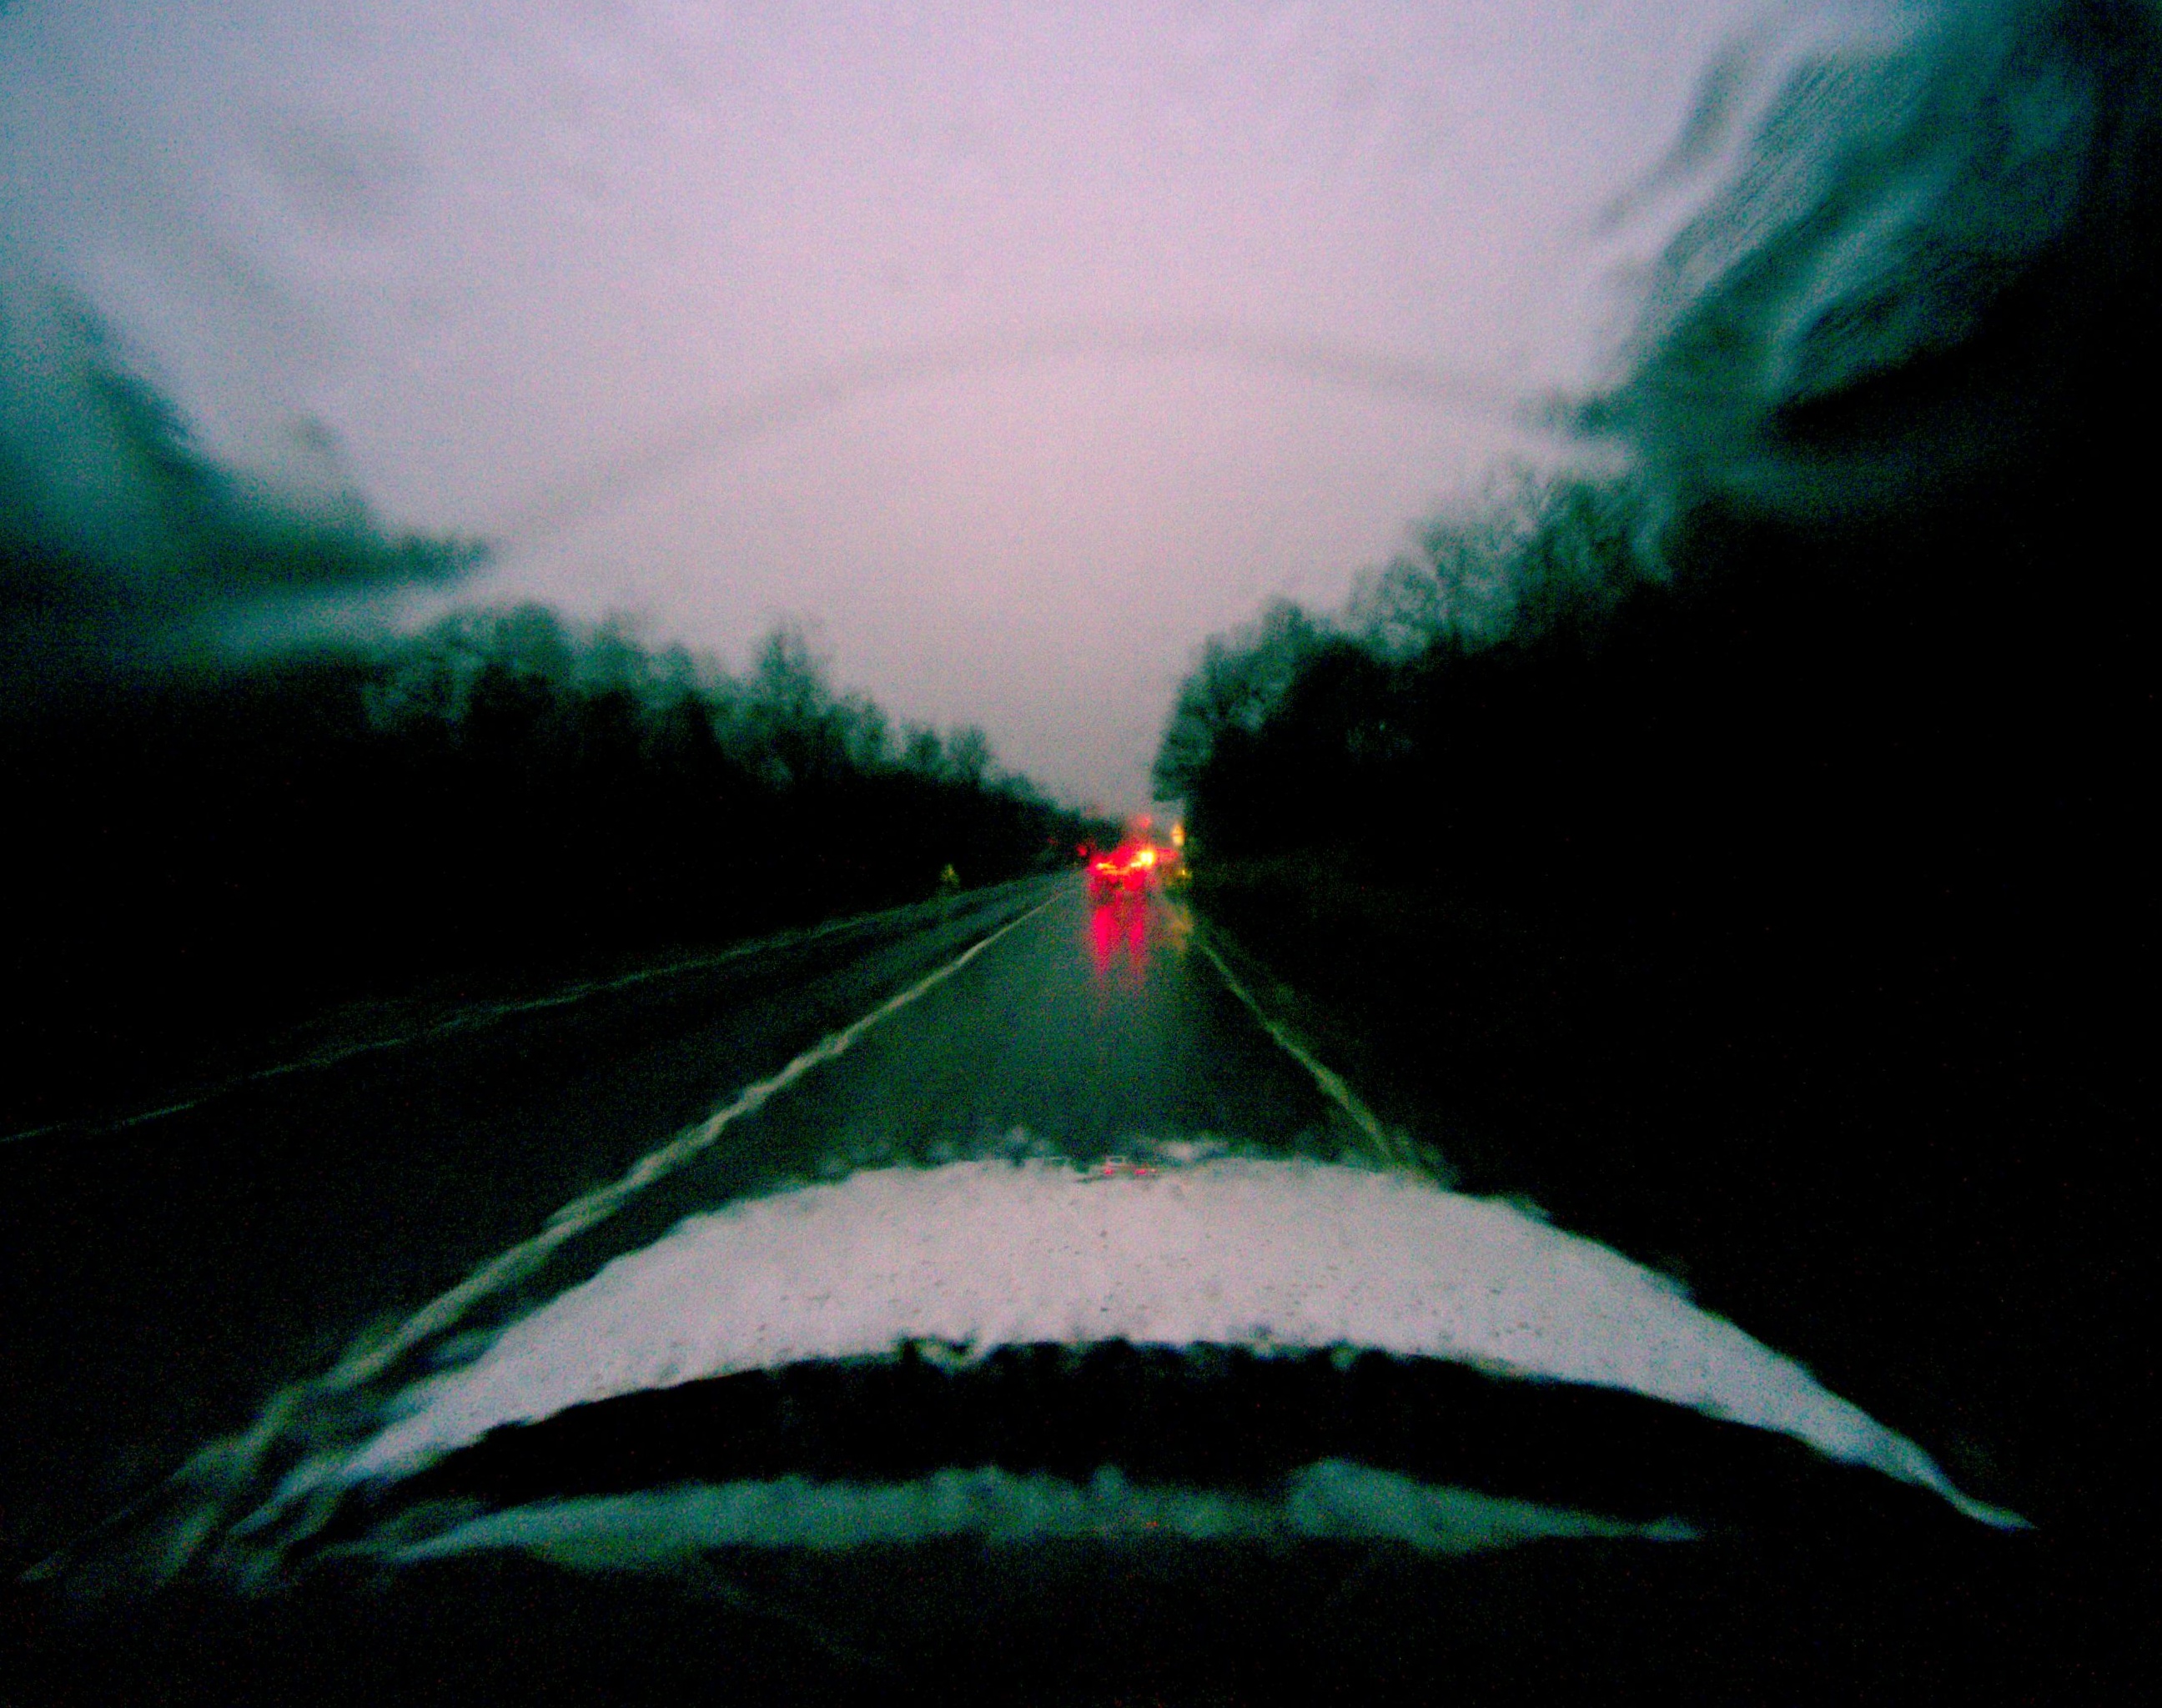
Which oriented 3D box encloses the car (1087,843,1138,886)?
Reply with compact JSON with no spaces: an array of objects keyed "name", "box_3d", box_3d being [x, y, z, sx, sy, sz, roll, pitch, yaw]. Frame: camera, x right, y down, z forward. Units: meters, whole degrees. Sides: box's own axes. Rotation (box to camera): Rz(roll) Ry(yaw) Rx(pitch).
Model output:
[{"name":"car","box_3d":[1.215,0.366,29.680,1.671,1.389,4.102,-2,0,4]}]
